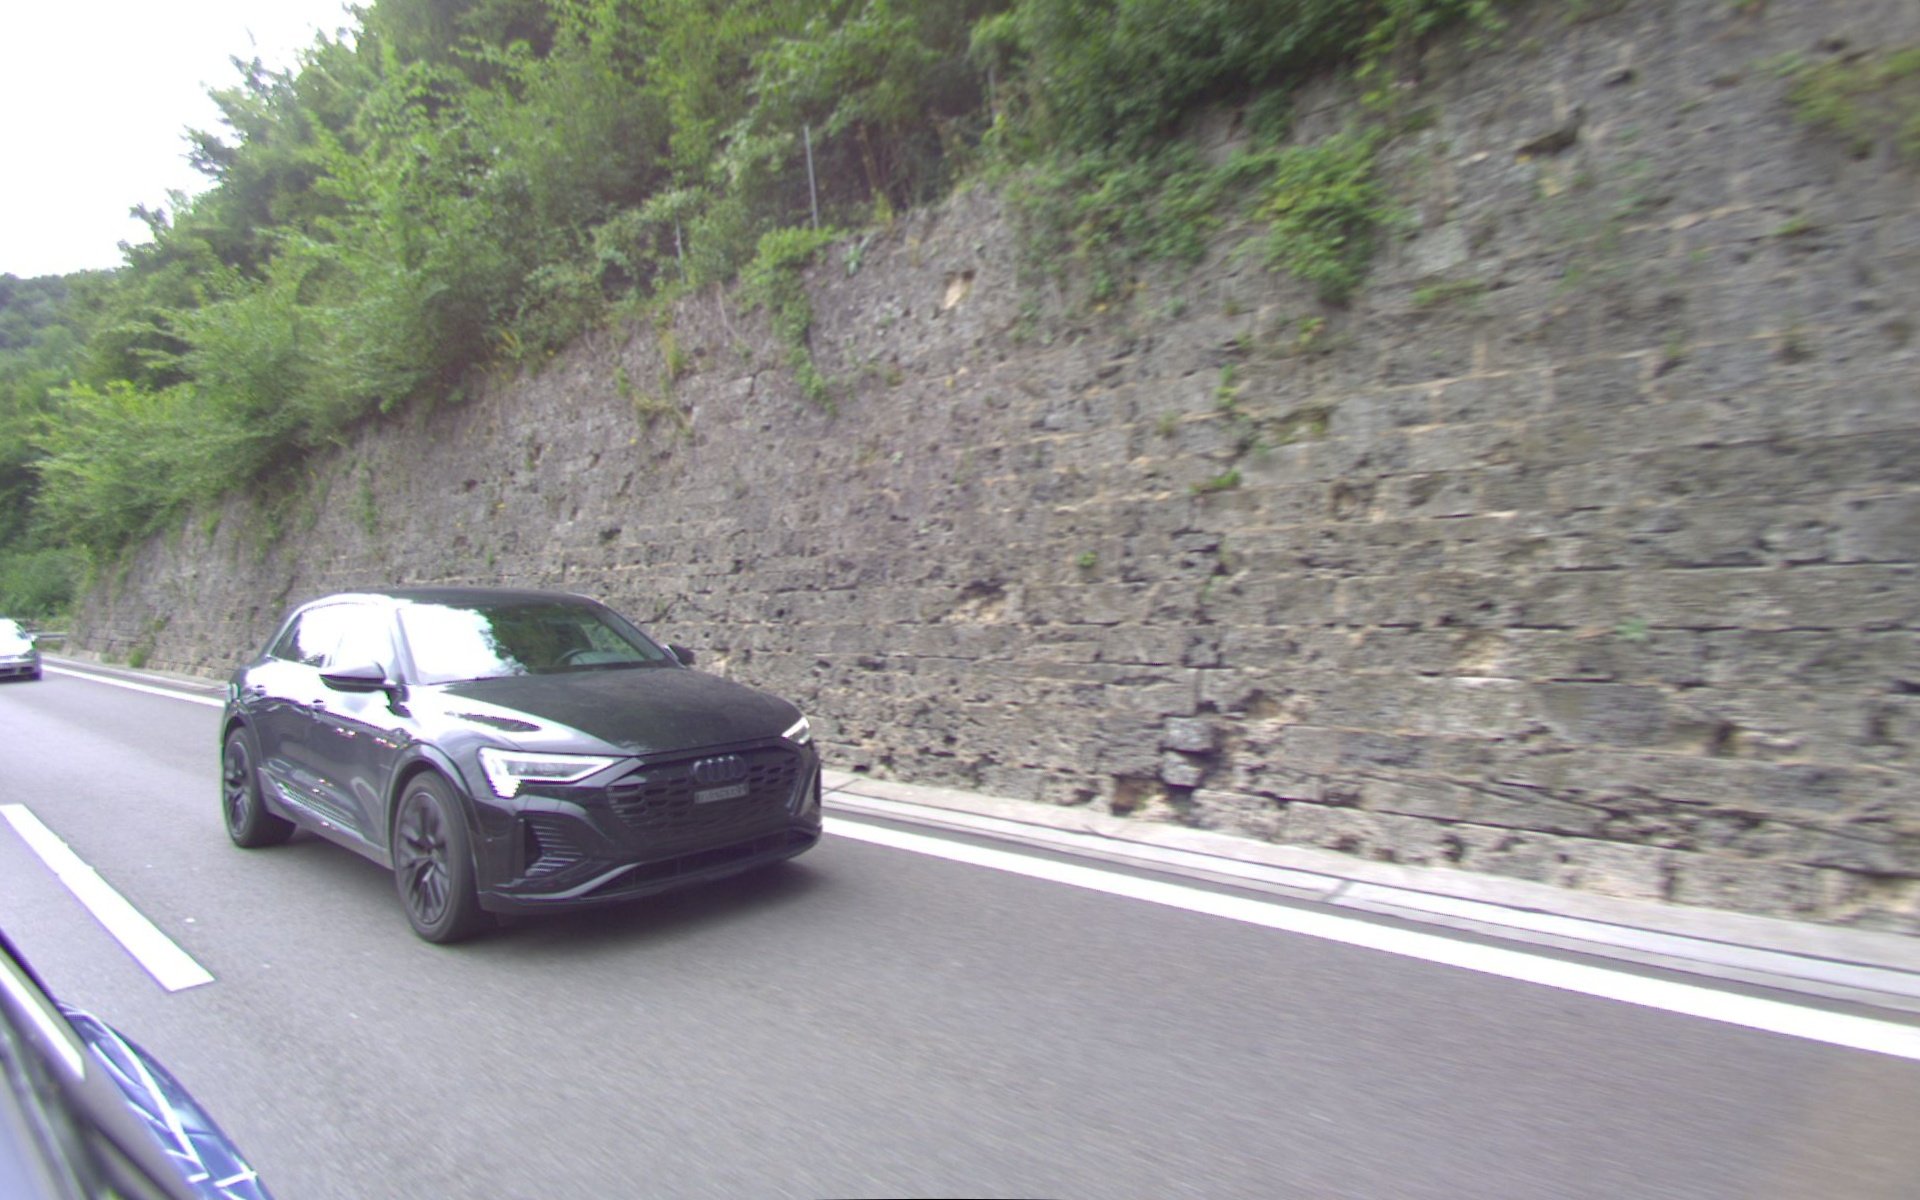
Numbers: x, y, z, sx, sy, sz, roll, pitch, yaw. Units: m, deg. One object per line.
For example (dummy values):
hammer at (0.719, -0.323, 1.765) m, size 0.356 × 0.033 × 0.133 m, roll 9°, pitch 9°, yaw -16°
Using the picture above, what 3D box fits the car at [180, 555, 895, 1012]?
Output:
car at (-2.856, 0.704, 6.060) m, size 5.006 × 1.644 × 1.973 m, roll -1°, pitch -1°, yaw 41°

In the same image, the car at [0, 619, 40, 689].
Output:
car at (-23.429, 1.280, 23.919) m, size 4.576 × 1.526 × 1.666 m, roll -2°, pitch 2°, yaw 38°
